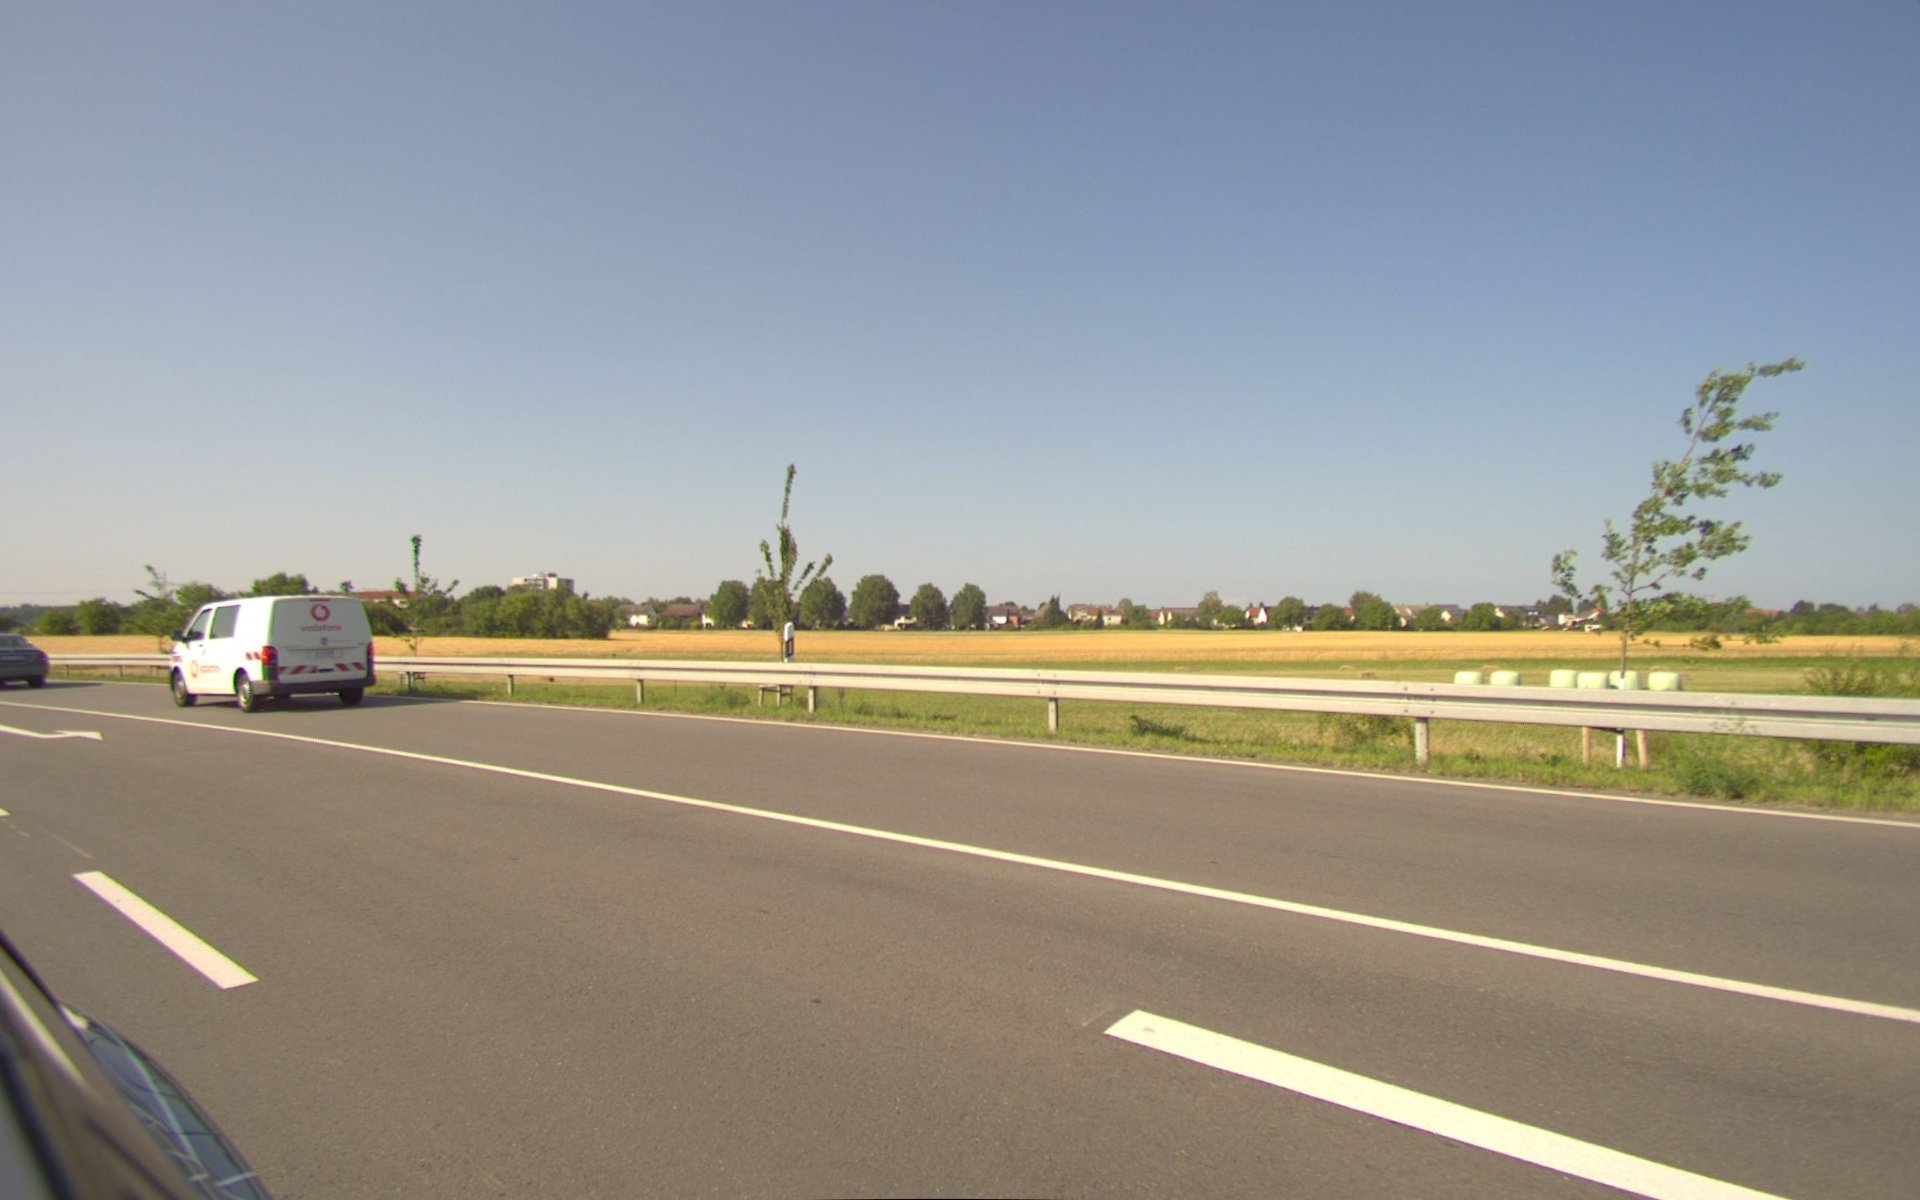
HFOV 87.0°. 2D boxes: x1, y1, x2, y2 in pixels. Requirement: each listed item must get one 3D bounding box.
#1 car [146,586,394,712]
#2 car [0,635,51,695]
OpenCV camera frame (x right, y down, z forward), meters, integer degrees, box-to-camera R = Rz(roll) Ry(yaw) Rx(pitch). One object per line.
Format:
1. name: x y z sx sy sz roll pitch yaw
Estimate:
1. car: -12.829 0.933 18.707 5.141 2.029 2.097 -4 -2 35
2. car: -26.069 1.707 26.870 4.693 1.459 1.780 -2 0 34
